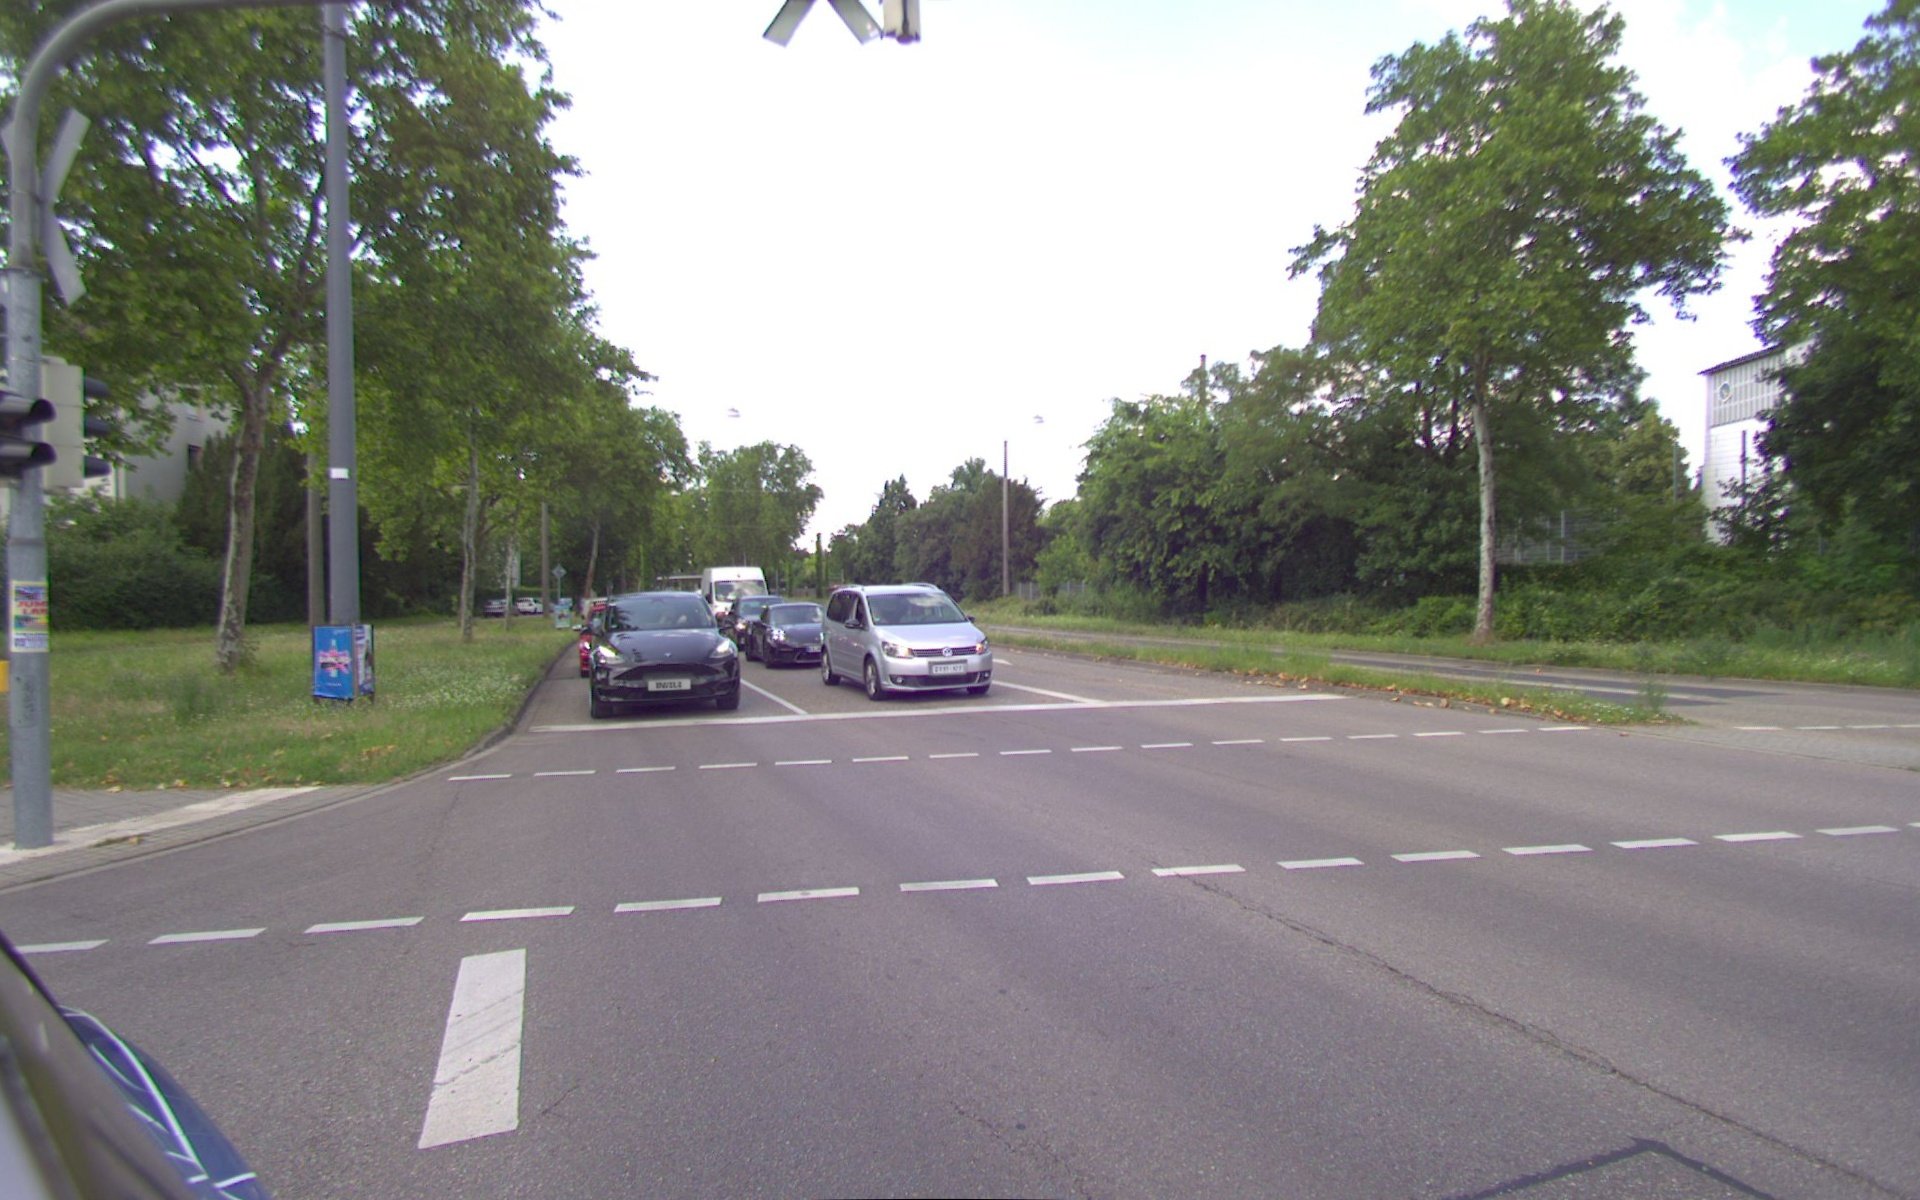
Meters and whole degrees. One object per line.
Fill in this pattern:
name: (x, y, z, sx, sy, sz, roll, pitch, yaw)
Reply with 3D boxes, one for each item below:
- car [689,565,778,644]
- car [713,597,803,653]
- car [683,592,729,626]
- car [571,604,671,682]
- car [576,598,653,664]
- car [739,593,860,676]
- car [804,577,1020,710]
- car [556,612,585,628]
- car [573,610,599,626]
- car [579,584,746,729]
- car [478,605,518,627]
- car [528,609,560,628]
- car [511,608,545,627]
car: (-8.323, 0.137, 36.680, 2.189, 2.549, 5.953, -3, 1, -21)
car: (-5.812, 0.660, 28.751, 1.734, 1.385, 4.358, -3, 1, -21)
car: (-13.114, 0.433, 52.007, 1.734, 1.659, 4.358, -1, 0, -21)
car: (-7.366, 0.831, 21.731, 1.771, 1.401, 4.517, -3, 1, -21)
car: (-9.605, 0.780, 27.939, 1.771, 1.581, 4.517, -3, 1, -21)
car: (-3.529, 0.661, 21.646, 1.773, 1.519, 4.013, -3, 1, -20)
car: (-0.924, 0.553, 15.557, 1.897, 1.664, 4.517, -3, 1, -21)
car: (-39.795, 2.038, 103.457, 1.749, 1.608, 3.660, -1, -2, -5)
car: (-41.101, 2.007, 111.264, 1.749, 1.608, 3.660, -1, -2, -5)
car: (-4.392, 0.662, 14.577, 1.898, 1.664, 4.594, -3, 1, -20)
car: (-36.119, 1.273, 79.231, 1.749, 1.608, 3.660, -1, -2, -5)
car: (-38.023, 1.691, 92.556, 1.749, 1.608, 3.660, -1, -2, -5)
car: (-37.652, 1.563, 88.291, 1.749, 1.608, 3.660, -1, -2, -5)
